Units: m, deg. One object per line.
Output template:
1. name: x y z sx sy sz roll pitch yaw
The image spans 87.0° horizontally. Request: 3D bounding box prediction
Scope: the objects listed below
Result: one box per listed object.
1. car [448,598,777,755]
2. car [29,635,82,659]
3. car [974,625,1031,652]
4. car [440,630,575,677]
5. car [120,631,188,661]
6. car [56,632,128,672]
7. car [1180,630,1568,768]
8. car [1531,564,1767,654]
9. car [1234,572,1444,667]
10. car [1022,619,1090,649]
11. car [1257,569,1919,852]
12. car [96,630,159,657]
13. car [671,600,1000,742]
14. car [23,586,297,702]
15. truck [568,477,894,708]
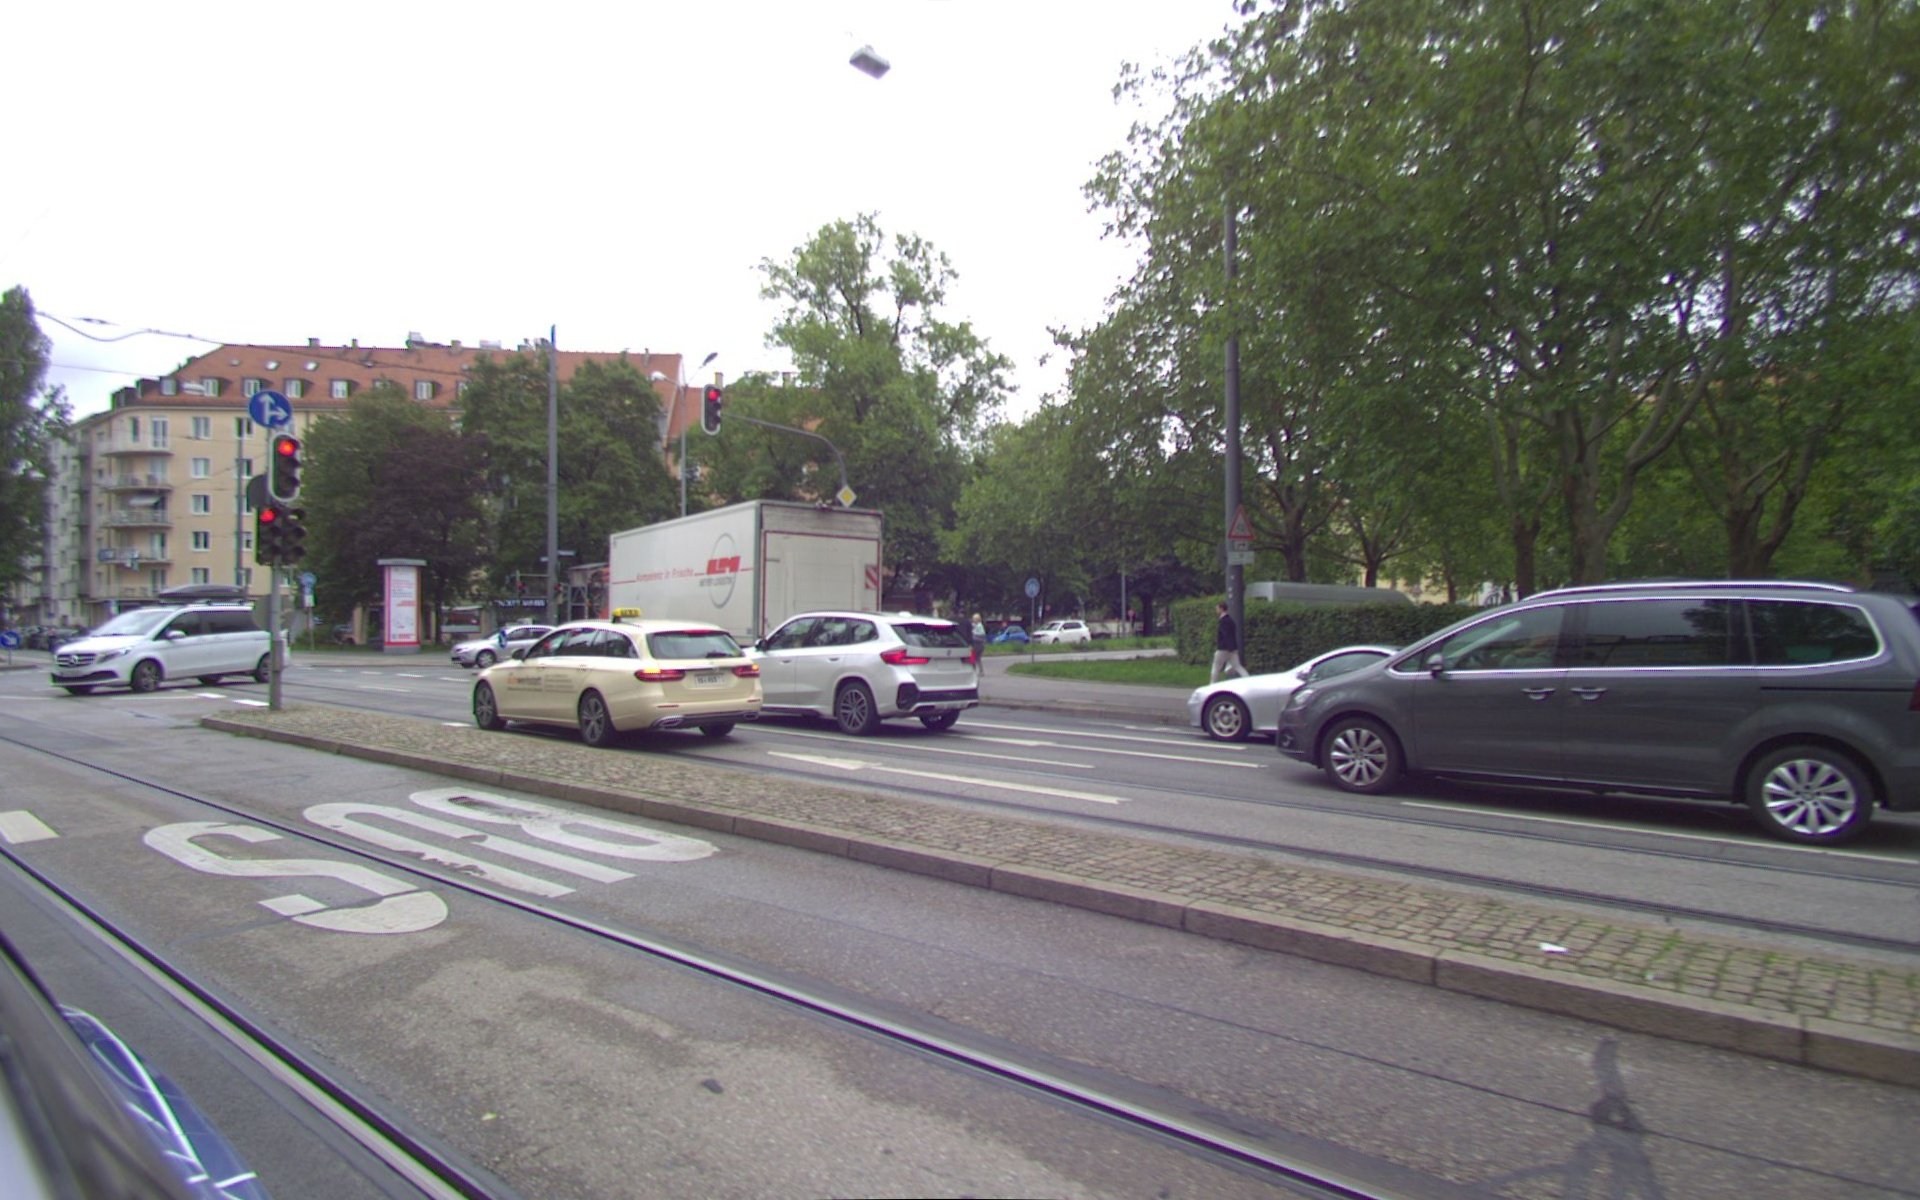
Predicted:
1. car: -4.594 0.867 12.946 4.889 1.651 1.803 -2 -2 41
2. car: -57.001 2.941 63.769 4.468 1.418 1.709 -1 -2 38
3. car: 2.583 2.303 61.588 1.524 1.561 3.611 -2 -2 42
4. car: -16.249 1.898 36.512 1.772 1.536 4.157 -3 -3 35
5. car: -40.529 2.269 50.843 4.369 1.418 1.709 -1 -2 38
6. car: -33.147 1.941 38.618 4.801 1.400 1.704 -2 -2 45
7. car: 4.961 1.117 12.489 4.103 1.422 1.712 -2 -5 43
8. car: 21.871 0.375 32.376 1.971 2.554 5.867 0 -3 -45
9. car: 9.730 0.540 26.186 4.557 2.029 2.003 5 -3 -6
10. car: 6.321 2.209 66.118 1.849 1.870 4.954 -2 -2 42
11. car: 5.036 0.709 7.956 4.891 1.696 1.802 -2 -2 43
12. car: -44.960 2.325 54.609 4.369 1.418 1.709 -1 -2 38
13. car: -1.925 0.908 14.390 4.889 1.696 1.895 -2 -2 41
14. car: -18.214 0.969 23.436 1.894 2.369 4.927 -1 -1 11
15. truck: -5.851 0.044 23.117 2.703 4.011 11.741 2 -3 -37
